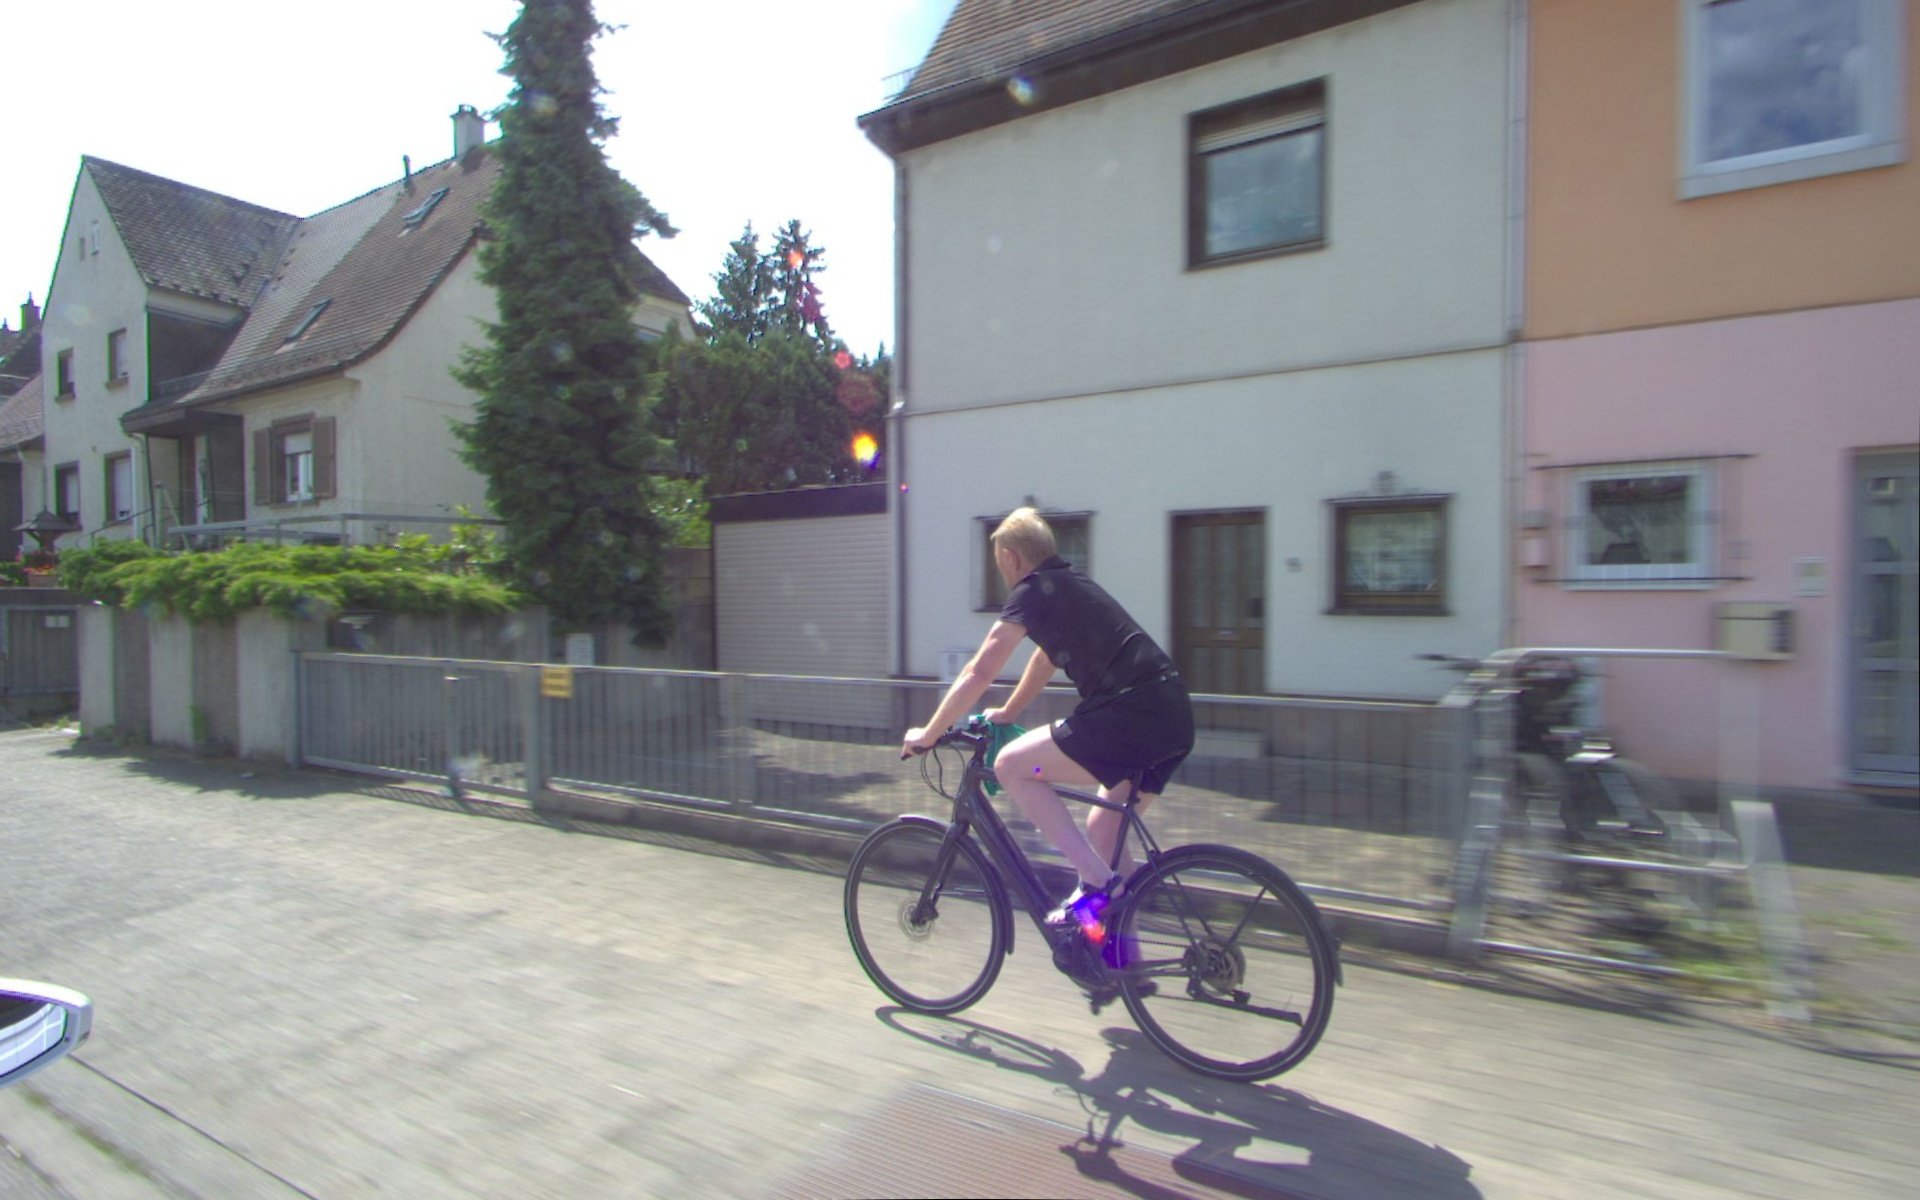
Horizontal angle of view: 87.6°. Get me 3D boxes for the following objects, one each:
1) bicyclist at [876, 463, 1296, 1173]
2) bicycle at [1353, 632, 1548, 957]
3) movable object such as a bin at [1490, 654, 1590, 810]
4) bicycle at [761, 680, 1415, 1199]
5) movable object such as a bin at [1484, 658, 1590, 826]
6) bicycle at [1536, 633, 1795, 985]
[{"bbox_3d":[0.408,0.555,3.196,1.069,1.818,0.826,1,2,35],"label":"bicyclist"},{"bbox_3d":[2.624,0.784,5.158,0.681,1.134,2.721,0,1,31],"label":"bicycle"},{"bbox_3d":[3.847,0.850,6.647,0.550,0.959,0.467,0,1,31],"label":"movable object such as a bin"},{"bbox_3d":[0.346,0.889,3.247,1.944,1.090,0.826,1,2,35],"label":"bicycle"},{"bbox_3d":[3.600,0.858,6.251,0.550,0.959,0.467,0,0,31],"label":"movable object such as a bin"},{"bbox_3d":[3.235,0.768,4.809,0.774,1.120,2.657,0,1,31],"label":"bicycle"}]
